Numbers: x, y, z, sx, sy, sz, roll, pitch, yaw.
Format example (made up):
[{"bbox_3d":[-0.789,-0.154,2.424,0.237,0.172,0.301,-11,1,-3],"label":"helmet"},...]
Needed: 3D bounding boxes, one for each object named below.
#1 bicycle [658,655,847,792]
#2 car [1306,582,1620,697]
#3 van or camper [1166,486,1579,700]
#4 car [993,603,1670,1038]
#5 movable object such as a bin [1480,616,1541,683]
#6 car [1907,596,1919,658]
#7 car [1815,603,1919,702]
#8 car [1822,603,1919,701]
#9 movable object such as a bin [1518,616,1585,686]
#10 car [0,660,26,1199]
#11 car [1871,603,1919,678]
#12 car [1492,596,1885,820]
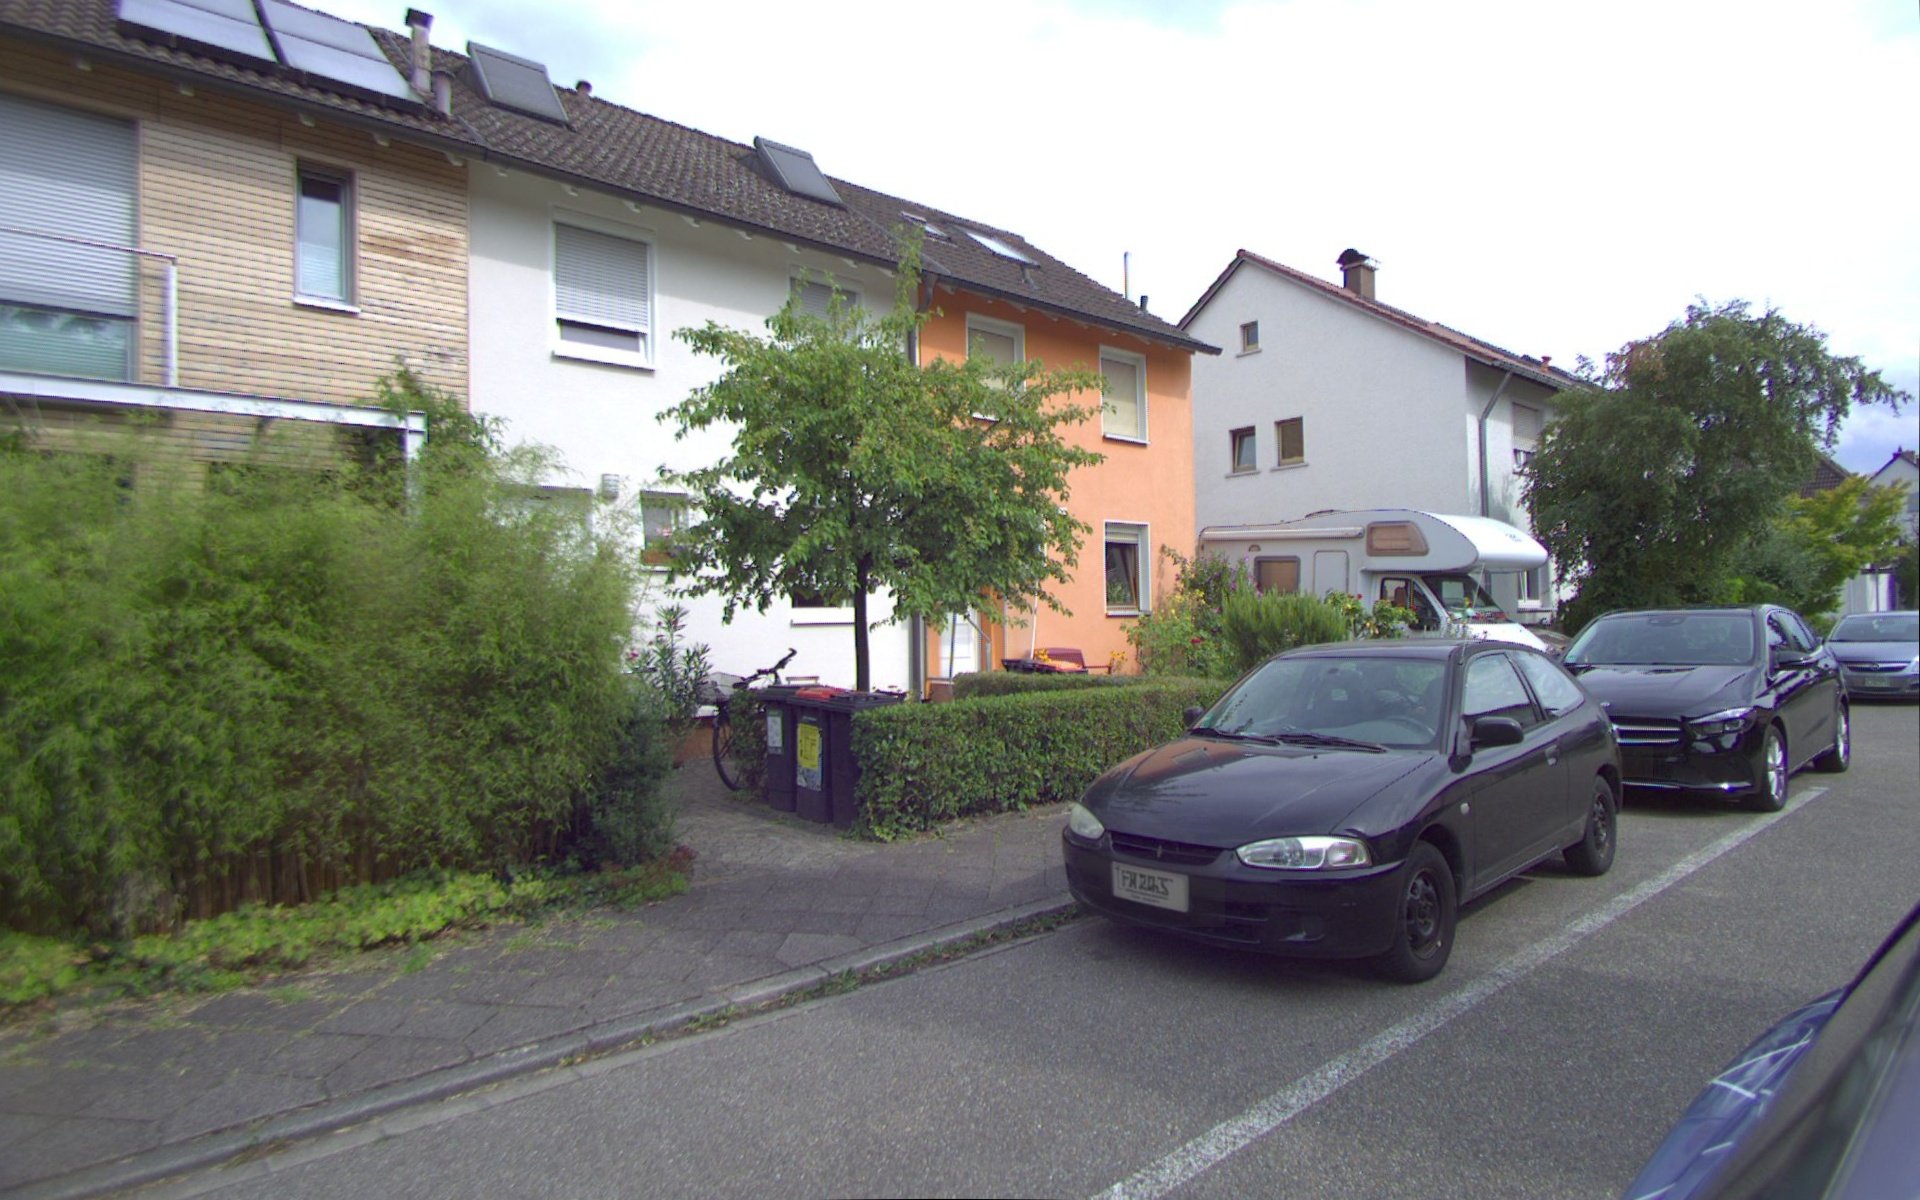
[{"bbox_3d":[-1.783,1.035,8.976,0.656,0.995,1.734,-1,-1,30],"label":"bicycle"},{"bbox_3d":[8.571,0.646,17.647,1.864,1.730,4.543,0,-1,-37],"label":"car"},{"bbox_3d":[6.430,-0.050,16.565,2.490,2.854,5.813,1,-1,-37],"label":"van or camper"},{"bbox_3d":[2.238,0.773,5.460,4.055,1.446,1.734,0,-1,-42],"label":"car"},{"bbox_3d":[10.316,0.898,18.959,1.122,1.191,0.654,0,-1,-40],"label":"movable object such as a bin"},{"bbox_3d":[24.872,0.606,24.736,4.764,1.458,1.871,0,-1,-39],"label":"car"},{"bbox_3d":[15.840,0.803,16.818,4.141,1.489,1.745,0,-1,-39],"label":"car"},{"bbox_3d":[15.787,0.792,16.786,4.148,1.461,1.705,0,-3,-42],"label":"car"},{"bbox_3d":[10.769,0.910,18.408,1.080,1.209,0.721,0,-1,-40],"label":"movable object such as a bin"},{"bbox_3d":[-3.705,0.845,0.523,4.686,1.425,1.869,0,-3,-42],"label":"car"},{"bbox_3d":[19.919,0.758,20.413,4.616,1.382,1.696,0,-1,-41],"label":"car"},{"bbox_3d":[6.581,0.734,8.927,4.566,1.486,1.752,0,-1,-40],"label":"car"}]
